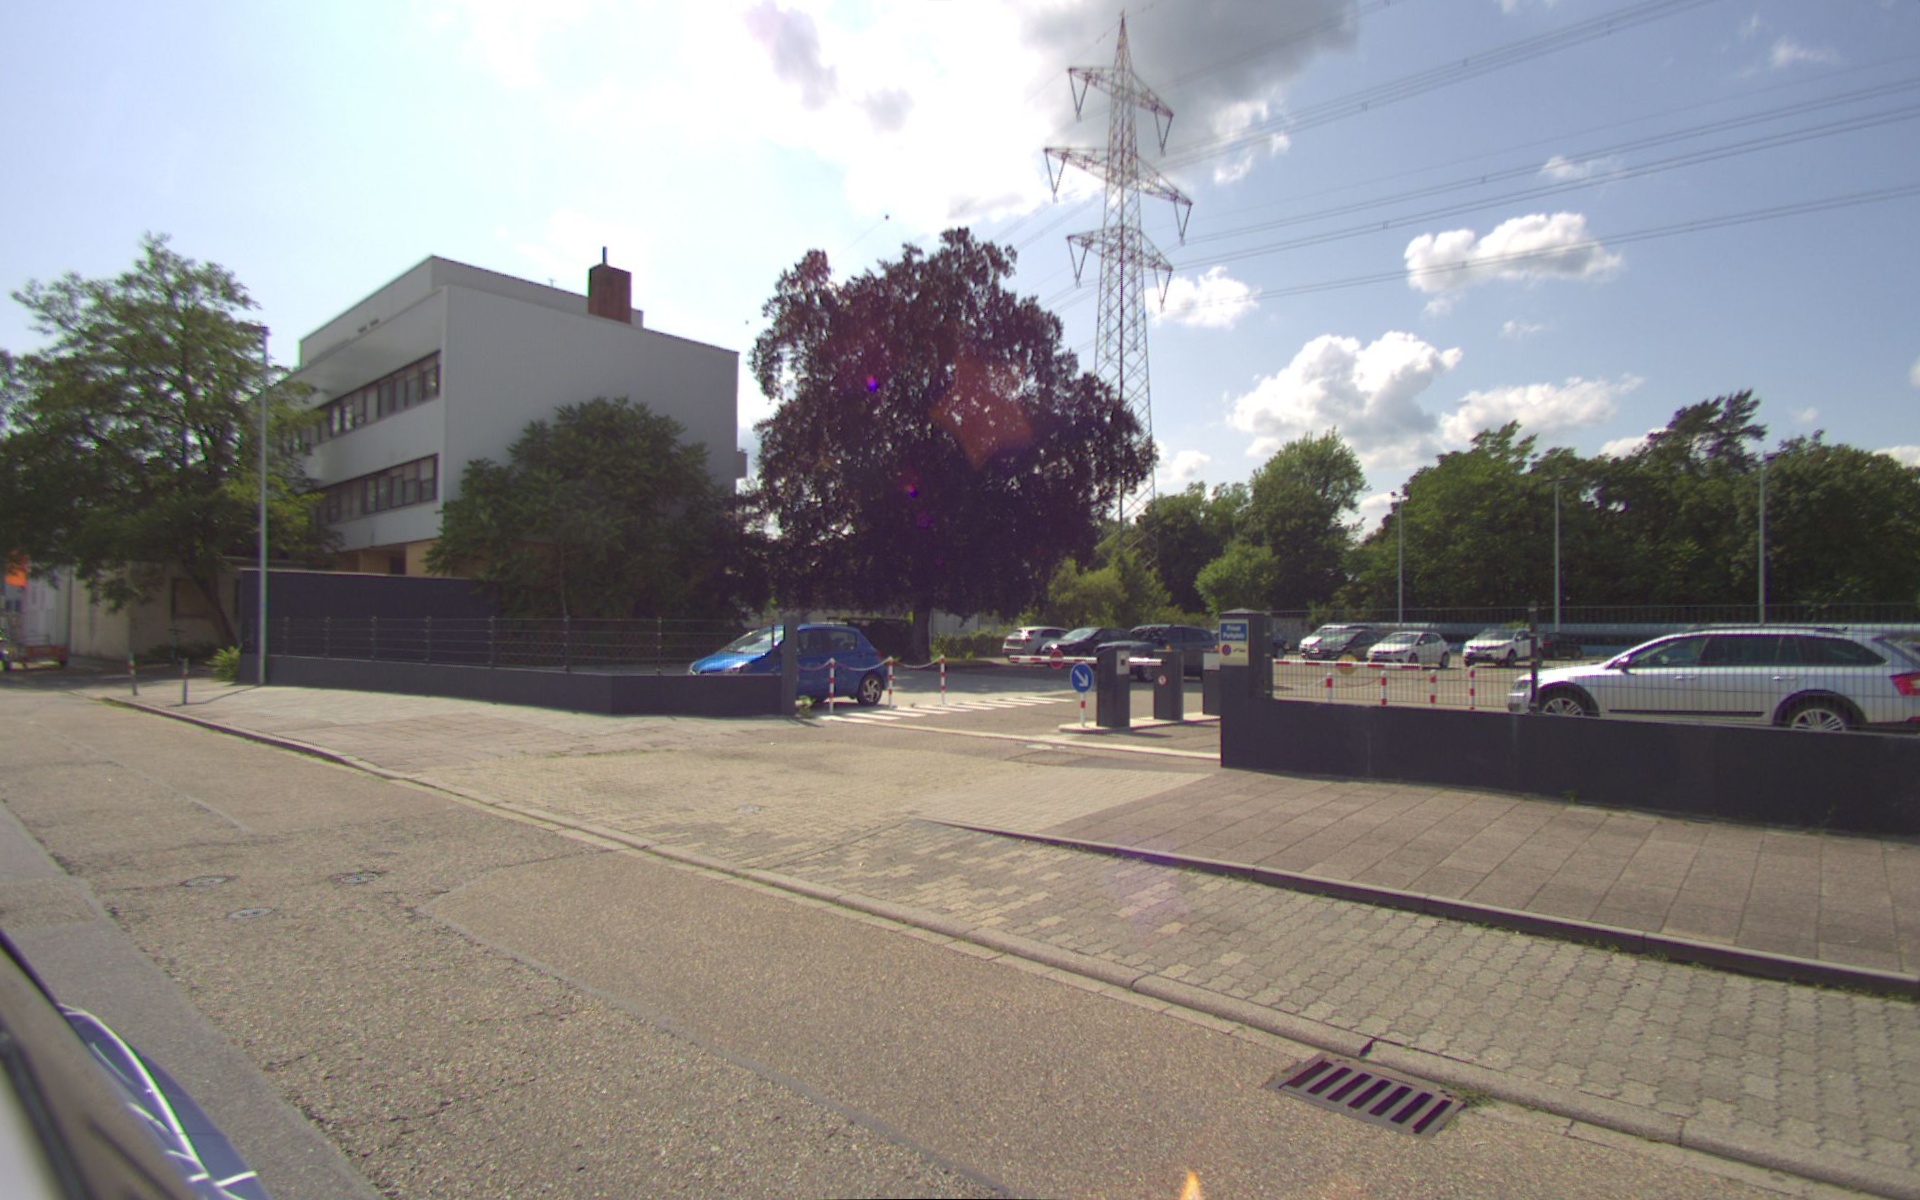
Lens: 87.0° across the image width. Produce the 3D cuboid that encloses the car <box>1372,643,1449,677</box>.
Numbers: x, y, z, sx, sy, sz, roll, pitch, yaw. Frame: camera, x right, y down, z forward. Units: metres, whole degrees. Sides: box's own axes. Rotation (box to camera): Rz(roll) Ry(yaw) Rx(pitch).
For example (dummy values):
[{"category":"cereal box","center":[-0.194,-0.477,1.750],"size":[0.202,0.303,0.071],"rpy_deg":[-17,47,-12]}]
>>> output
[{"category":"car","center":[17.658,2.343,39.637],"size":[3.273,1.240,1.682],"rpy_deg":[3,-3,-44]}]

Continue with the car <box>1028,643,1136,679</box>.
[{"category":"car","center":[4.601,2.259,37.811],"size":[4.149,1.236,1.831],"rpy_deg":[3,-3,-44]}]

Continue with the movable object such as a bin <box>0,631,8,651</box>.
[{"category":"movable object such as a bin","center":[-70.220,2.999,73.522],"size":[1.149,1.438,1.304],"rpy_deg":[-1,-3,36]}]

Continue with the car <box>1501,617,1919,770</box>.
[{"category":"car","center":[9.785,1.082,12.841],"size":[4.847,1.649,1.803],"rpy_deg":[-2,-3,45]}]

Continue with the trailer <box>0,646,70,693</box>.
[{"category":"trailer","center":[-33.652,2.453,36.520],"size":[4.334,1.450,1.748],"rpy_deg":[-1,0,42]}]

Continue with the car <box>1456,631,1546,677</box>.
[{"category":"car","center":[22.334,2.213,41.745],"size":[3.720,1.798,1.992],"rpy_deg":[2,-3,-39]}]

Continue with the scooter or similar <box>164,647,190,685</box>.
[{"category":"scooter or similar","center":[-27.389,2.293,35.400],"size":[1.360,1.289,0.477],"rpy_deg":[-1,0,42]}]

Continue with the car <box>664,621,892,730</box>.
[{"category":"car","center":[-3.149,1.266,17.954],"size":[1.878,1.721,3.610],"rpy_deg":[-1,-3,41]}]

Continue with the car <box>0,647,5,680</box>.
[{"category":"car","center":[-45.786,2.961,47.011],"size":[4.512,1.466,1.655],"rpy_deg":[-1,-1,42]}]

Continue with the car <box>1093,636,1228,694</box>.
[{"category":"car","center":[5.714,1.797,28.537],"size":[4.149,1.513,1.682],"rpy_deg":[3,-3,-44]}]

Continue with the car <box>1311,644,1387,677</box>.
[{"category":"car","center":[15.897,2.449,41.314],"size":[3.273,1.240,1.682],"rpy_deg":[3,-3,-44]}]

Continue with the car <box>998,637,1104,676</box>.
[{"category":"car","center":[3.619,2.207,39.811],"size":[4.232,1.419,1.831],"rpy_deg":[3,-3,-44]}]

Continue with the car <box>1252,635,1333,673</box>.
[{"category":"car","center":[15.616,2.511,47.401],"size":[4.148,1.675,1.839],"rpy_deg":[3,-3,-43]}]
